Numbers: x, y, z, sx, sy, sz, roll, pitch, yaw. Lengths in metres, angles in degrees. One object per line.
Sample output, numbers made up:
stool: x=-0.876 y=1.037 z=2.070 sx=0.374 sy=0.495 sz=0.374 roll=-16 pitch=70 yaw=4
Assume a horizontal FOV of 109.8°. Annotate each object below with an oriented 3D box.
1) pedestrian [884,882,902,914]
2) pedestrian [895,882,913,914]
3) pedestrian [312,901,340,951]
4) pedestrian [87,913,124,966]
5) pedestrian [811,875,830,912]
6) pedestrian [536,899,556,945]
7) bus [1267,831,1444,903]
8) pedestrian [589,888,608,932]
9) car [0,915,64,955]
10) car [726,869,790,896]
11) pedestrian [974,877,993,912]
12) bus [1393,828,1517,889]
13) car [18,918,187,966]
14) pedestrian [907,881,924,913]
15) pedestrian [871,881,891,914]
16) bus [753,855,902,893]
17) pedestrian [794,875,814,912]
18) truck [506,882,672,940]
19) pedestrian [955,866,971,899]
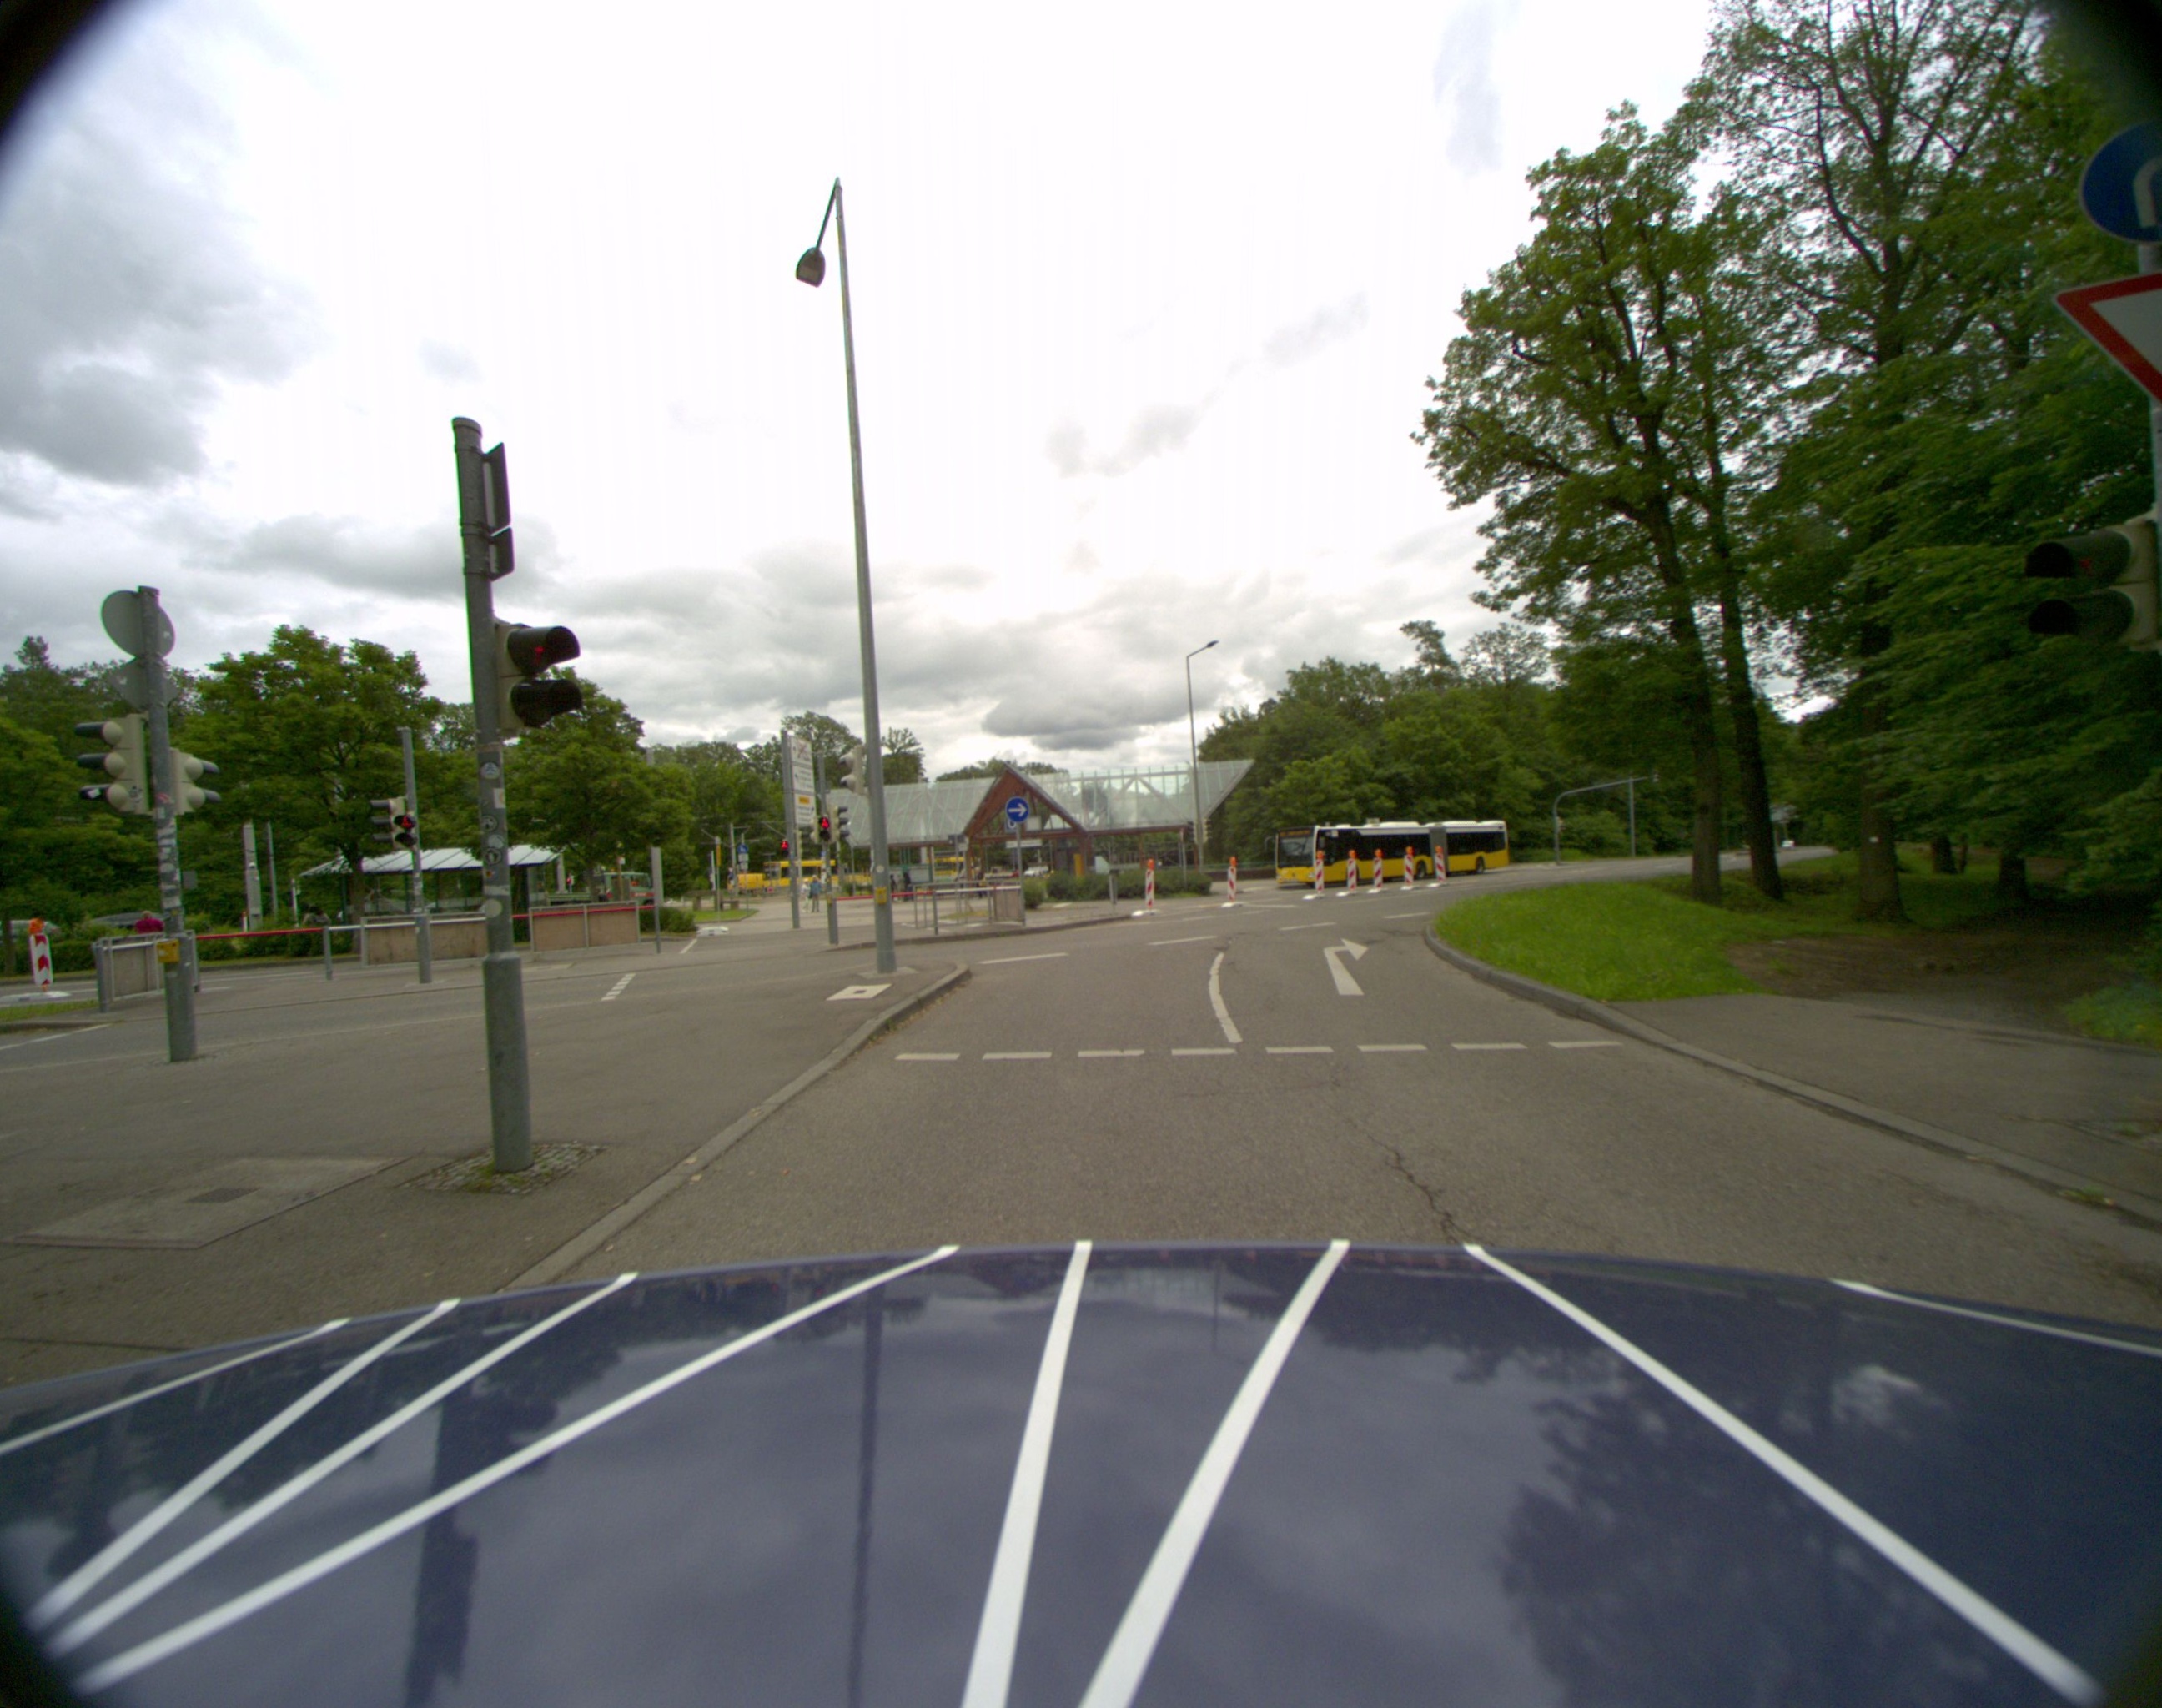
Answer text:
pedestrian: x=-10.541 y=2.475 z=42.584 sx=0.560 sy=1.747 sz=0.670 roll=-6 pitch=-2 yaw=37
pedestrian: x=-9.877 y=2.442 z=42.368 sx=0.601 sy=1.747 sz=0.667 roll=-3 pitch=-2 yaw=-40
pedestrian: x=-47.752 y=4.527 z=48.076 sx=1.116 sy=3.025 sz=1.024 roll=-3 pitch=-2 yaw=-45
pedestrian: x=-43.799 y=3.831 z=34.120 sx=0.864 sy=2.280 sz=0.616 roll=-3 pitch=-2 yaw=-45
pedestrian: x=-12.679 y=1.908 z=36.965 sx=0.737 sy=1.747 sz=0.668 roll=-4 pitch=-1 yaw=-17
pedestrian: x=-18.479 y=2.343 z=26.261 sx=0.480 sy=1.507 sz=0.522 roll=-4 pitch=-2 yaw=-34
bus: x=14.338 y=0.585 z=39.104 sx=10.536 sy=3.139 sz=2.806 roll=-2 pitch=-2 yaw=-35
pedestrian: x=-17.192 y=1.991 z=27.086 sx=0.480 sy=1.507 sz=0.522 roll=-4 pitch=-2 yaw=-34
car: x=-59.893 y=4.585 z=42.044 sx=1.995 sy=2.001 sz=4.007 roll=-5 pitch=-2 yaw=28
car: x=-33.909 y=2.955 z=80.038 sx=1.995 sy=2.478 sz=6.160 roll=-5 pitch=-2 yaw=28
pedestrian: x=-5.065 y=2.075 z=39.478 sx=0.667 sy=1.747 sz=0.657 roll=-5 pitch=-1 yaw=19
bus: x=21.886 y=0.225 z=44.294 sx=7.769 sy=3.139 sz=2.806 roll=-2 pitch=-2 yaw=-34
car: x=-54.247 y=4.841 z=42.291 sx=1.995 sy=2.001 sz=5.446 roll=-5 pitch=-2 yaw=28
pedestrian: x=-9.276 y=2.424 z=42.599 sx=0.601 sy=1.747 sz=0.667 roll=-3 pitch=-2 yaw=-40
pedestrian: x=-11.256 y=2.438 z=42.692 sx=0.732 sy=1.747 sz=0.737 roll=-5 pitch=-1 yaw=10
bus: x=-27.374 y=2.026 z=84.232 sx=3.970 sy=3.461 sz=18.609 roll=-5 pitch=-2 yaw=24
pedestrian: x=-13.349 y=1.908 z=36.643 sx=0.737 sy=1.747 sz=0.668 roll=-4 pitch=-1 yaw=-16
truck: x=-24.786 y=2.807 z=38.584 sx=2.401 sy=2.337 sz=6.557 roll=-6 pitch=-2 yaw=38
pedestrian: x=-6.434 y=1.552 z=41.398 sx=0.656 sy=1.747 sz=0.668 roll=-4 pitch=-1 yaw=-16
